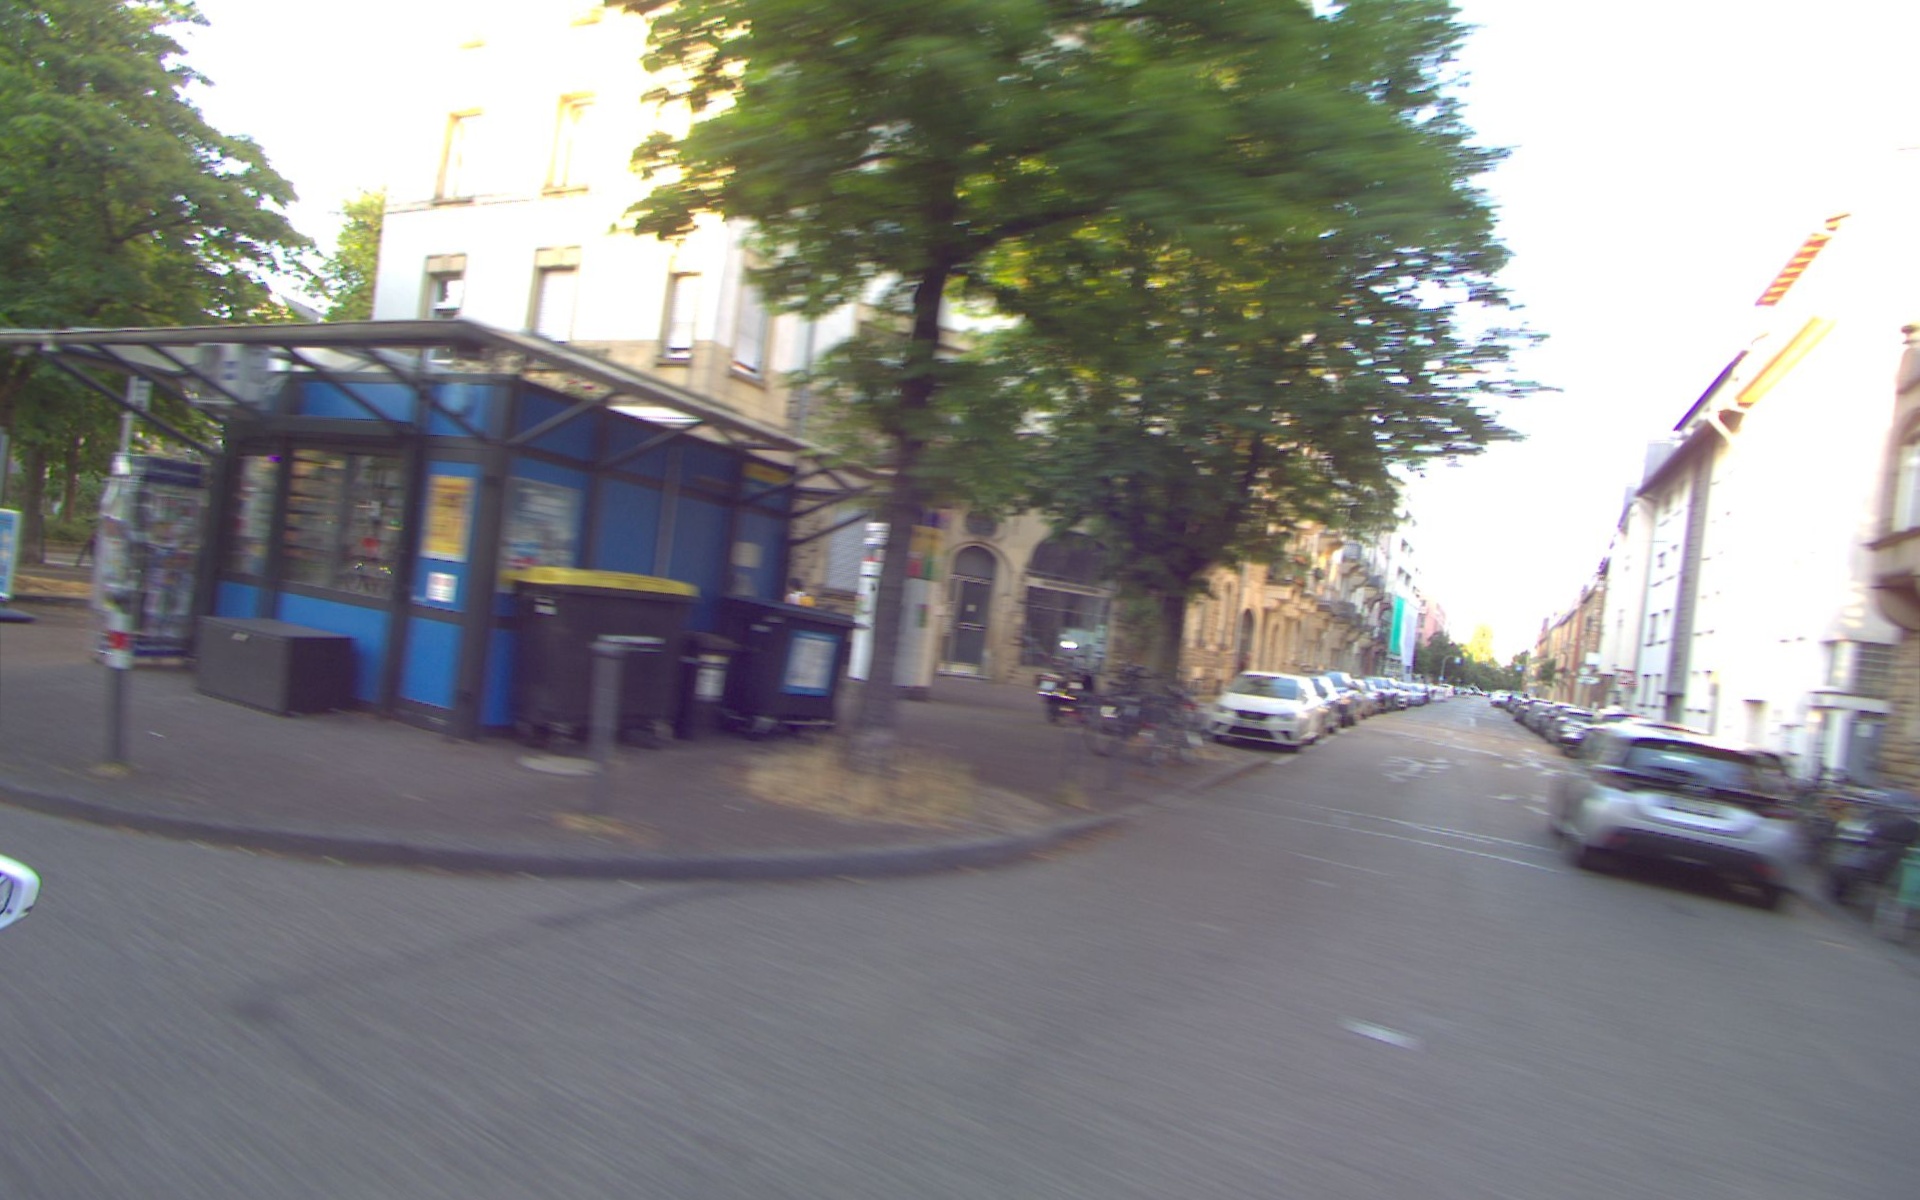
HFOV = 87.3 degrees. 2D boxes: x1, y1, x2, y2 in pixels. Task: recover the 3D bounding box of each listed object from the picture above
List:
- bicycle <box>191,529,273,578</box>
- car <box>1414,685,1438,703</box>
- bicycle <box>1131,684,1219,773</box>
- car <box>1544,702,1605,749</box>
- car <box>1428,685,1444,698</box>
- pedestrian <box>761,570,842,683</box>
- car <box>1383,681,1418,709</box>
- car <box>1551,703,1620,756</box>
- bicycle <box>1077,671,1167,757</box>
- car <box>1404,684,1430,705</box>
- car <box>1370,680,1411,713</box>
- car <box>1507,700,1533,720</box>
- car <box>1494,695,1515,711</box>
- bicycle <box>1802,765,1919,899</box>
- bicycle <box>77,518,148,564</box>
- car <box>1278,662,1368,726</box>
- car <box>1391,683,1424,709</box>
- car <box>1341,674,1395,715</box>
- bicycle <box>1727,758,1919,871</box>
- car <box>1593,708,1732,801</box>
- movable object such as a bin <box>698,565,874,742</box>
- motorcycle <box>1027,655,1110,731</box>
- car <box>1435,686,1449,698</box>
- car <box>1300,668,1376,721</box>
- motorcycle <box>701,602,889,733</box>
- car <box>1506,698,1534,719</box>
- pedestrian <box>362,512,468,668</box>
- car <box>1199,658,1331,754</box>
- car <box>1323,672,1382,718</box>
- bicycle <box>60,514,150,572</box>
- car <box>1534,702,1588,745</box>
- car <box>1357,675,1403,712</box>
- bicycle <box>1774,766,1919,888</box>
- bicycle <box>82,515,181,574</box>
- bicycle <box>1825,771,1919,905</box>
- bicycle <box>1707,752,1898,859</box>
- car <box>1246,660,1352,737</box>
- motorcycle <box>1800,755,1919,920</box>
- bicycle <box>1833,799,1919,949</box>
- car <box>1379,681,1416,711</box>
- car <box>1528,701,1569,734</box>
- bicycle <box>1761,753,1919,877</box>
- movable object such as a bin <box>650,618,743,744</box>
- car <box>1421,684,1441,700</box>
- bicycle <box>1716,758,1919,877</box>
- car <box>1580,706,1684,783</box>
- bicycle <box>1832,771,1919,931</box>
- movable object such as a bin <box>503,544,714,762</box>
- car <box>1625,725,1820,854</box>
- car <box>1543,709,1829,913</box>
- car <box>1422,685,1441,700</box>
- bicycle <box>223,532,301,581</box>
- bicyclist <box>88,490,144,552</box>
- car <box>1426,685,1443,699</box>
[{"bbox_3d":[-18.859,-1.195,26.077,1.579,1.033,0.554,7,0,-6],"label":"bicycle"},{"bbox_3d":[45.578,9.204,98.306,1.794,1.500,4.127,8,-2,27],"label":"car"},{"bbox_3d":[2.848,1.645,13.187,0.569,1.008,1.738,7,-1,28],"label":"bicycle"},{"bbox_3d":[24.513,4.989,40.217,1.795,1.500,3.904,7,-2,30],"label":"car"},{"bbox_3d":[66.702,12.863,140.990,1.794,1.500,4.127,8,-2,27],"label":"car"},{"bbox_3d":[-2.779,0.451,17.563,0.992,1.811,0.975,6,1,-24],"label":"pedestrian"},{"bbox_3d":[28.929,6.264,66.027,1.794,1.500,4.128,8,-2,26],"label":"car"},{"bbox_3d":[22.343,4.623,36.058,1.795,1.500,3.904,7,-2,30],"label":"car"},{"bbox_3d":[2.216,1.508,13.569,0.569,1.008,1.738,7,-1,28],"label":"bicycle"},{"bbox_3d":[38.379,7.940,84.448,1.794,1.500,4.128,8,-2,26],"label":"car"},{"bbox_3d":[23.900,5.359,55.767,1.794,1.500,4.128,8,-2,26],"label":"car"},{"bbox_3d":[52.561,10.290,94.523,1.794,1.501,3.904,8,-1,26],"label":"car"},{"bbox_3d":[63.977,12.084,118.282,1.794,1.501,3.904,8,-1,26],"label":"car"},{"bbox_3d":[10.198,2.529,10.626,1.801,1.209,0.545,8,0,24],"label":"bicycle"},{"bbox_3d":[-23.073,-1.586,27.427,0.698,1.083,1.828,8,0,-15],"label":"bicycle"},{"bbox_3d":[10.690,2.783,29.429,1.795,1.500,3.906,8,-2,28],"label":"car"},{"bbox_3d":[31.051,6.653,69.744,1.794,1.500,4.128,8,-2,26],"label":"car"},{"bbox_3d":[18.505,4.284,45.508,1.794,1.500,4.127,8,-2,27],"label":"car"},{"bbox_3d":[11.219,2.752,13.068,1.801,1.041,0.545,8,0,24],"label":"bicycle"},{"bbox_3d":[14.919,3.231,21.574,1.795,1.500,3.906,8,-2,28],"label":"car"},{"bbox_3d":[-1.673,0.548,9.838,0.807,1.491,1.284,8,-4,36],"label":"movable object such as a bin"},{"bbox_3d":[1.761,1.468,16.018,0.569,1.066,1.831,7,-1,28],"label":"motorcycle"},{"bbox_3d":[77.163,14.725,160.998,1.794,1.500,4.127,8,-2,27],"label":"car"},{"bbox_3d":[13.248,3.327,35.123,1.795,1.500,4.073,8,-2,29],"label":"car"},{"bbox_3d":[-1.894,0.746,11.503,1.849,1.181,0.869,8,0,28],"label":"motorcycle"},{"bbox_3d":[49.854,9.681,89.594,1.794,1.501,3.904,8,-1,26],"label":"car"},{"bbox_3d":[-6.166,-0.100,11.397,0.580,1.657,0.678,7,0,26],"label":"pedestrian"},{"bbox_3d":[6.301,2.143,20.478,1.794,1.500,3.907,8,-2,27],"label":"car"},{"bbox_3d":[16.046,3.892,40.976,1.794,1.500,4.128,8,-2,26],"label":"car"},{"bbox_3d":[-18.682,-1.245,21.988,1.577,1.052,0.432,7,0,6],"label":"bicycle"},{"bbox_3d":[26.812,5.472,45.008,1.795,1.501,3.902,8,-1,29],"label":"car"},{"bbox_3d":[21.287,4.743,50.854,1.794,1.500,4.128,8,-2,26],"label":"car"},{"bbox_3d":[10.677,2.658,11.610,1.801,1.120,0.545,8,0,24],"label":"bicycle"},{"bbox_3d":[-18.375,-1.235,22.331,1.863,1.052,0.432,7,0,6],"label":"bicycle"},{"bbox_3d":[9.971,2.491,10.065,1.801,1.175,0.545,8,0,24],"label":"bicycle"},{"bbox_3d":[11.402,2.764,13.684,1.801,1.041,0.545,8,0,24],"label":"bicycle"},{"bbox_3d":[8.440,2.441,24.836,1.794,1.500,4.004,8,-2,27],"label":"car"},{"bbox_3d":[9.307,2.318,9.443,1.965,1.369,0.640,6,0,21],"label":"motorcycle"},{"bbox_3d":[8.198,2.316,7.922,0.585,1.091,1.819,7,0,-32],"label":"bicycle"},{"bbox_3d":[26.840,5.892,61.710,1.794,1.500,4.128,8,-2,26],"label":"car"},{"bbox_3d":[33.841,6.731,57.902,1.795,1.501,3.902,8,-1,30],"label":"car"},{"bbox_3d":[10.914,2.600,12.098,1.801,1.152,0.591,8,0,24],"label":"bicycle"},{"bbox_3d":[-2.318,0.709,8.876,0.479,1.014,0.481,8,1,28],"label":"movable object such as a bin"},{"bbox_3d":[53.881,10.519,114.945,1.794,1.500,4.127,8,-2,27],"label":"car"},{"bbox_3d":[10.670,2.676,12.540,1.801,1.041,0.545,8,0,24],"label":"bicycle"},{"bbox_3d":[16.999,3.628,25.614,1.795,1.500,3.904,7,-2,30],"label":"car"},{"bbox_3d":[8.990,2.327,8.837,1.800,1.278,0.585,8,0,19],"label":"bicycle"},{"bbox_3d":[-2.700,0.391,7.794,0.754,1.495,1.221,8,3,36],"label":"movable object such as a bin"},{"bbox_3d":[12.155,2.937,16.307,1.795,1.500,3.905,8,-2,29],"label":"car"},{"bbox_3d":[7.512,2.052,10.845,1.852,1.400,4.033,7,-1,29],"label":"car"},{"bbox_3d":[58.247,11.493,124.257,1.794,1.500,4.127,8,-2,27],"label":"car"},{"bbox_3d":[-18.717,-1.153,27.002,1.581,1.076,0.418,7,0,-11],"label":"bicycle"},{"bbox_3d":[-22.999,-2.136,27.432,0.698,1.521,0.916,7,0,-16],"label":"bicyclist"},{"bbox_3d":[64.005,12.461,135.771,1.794,1.500,4.127,8,-2,27],"label":"car"}]
